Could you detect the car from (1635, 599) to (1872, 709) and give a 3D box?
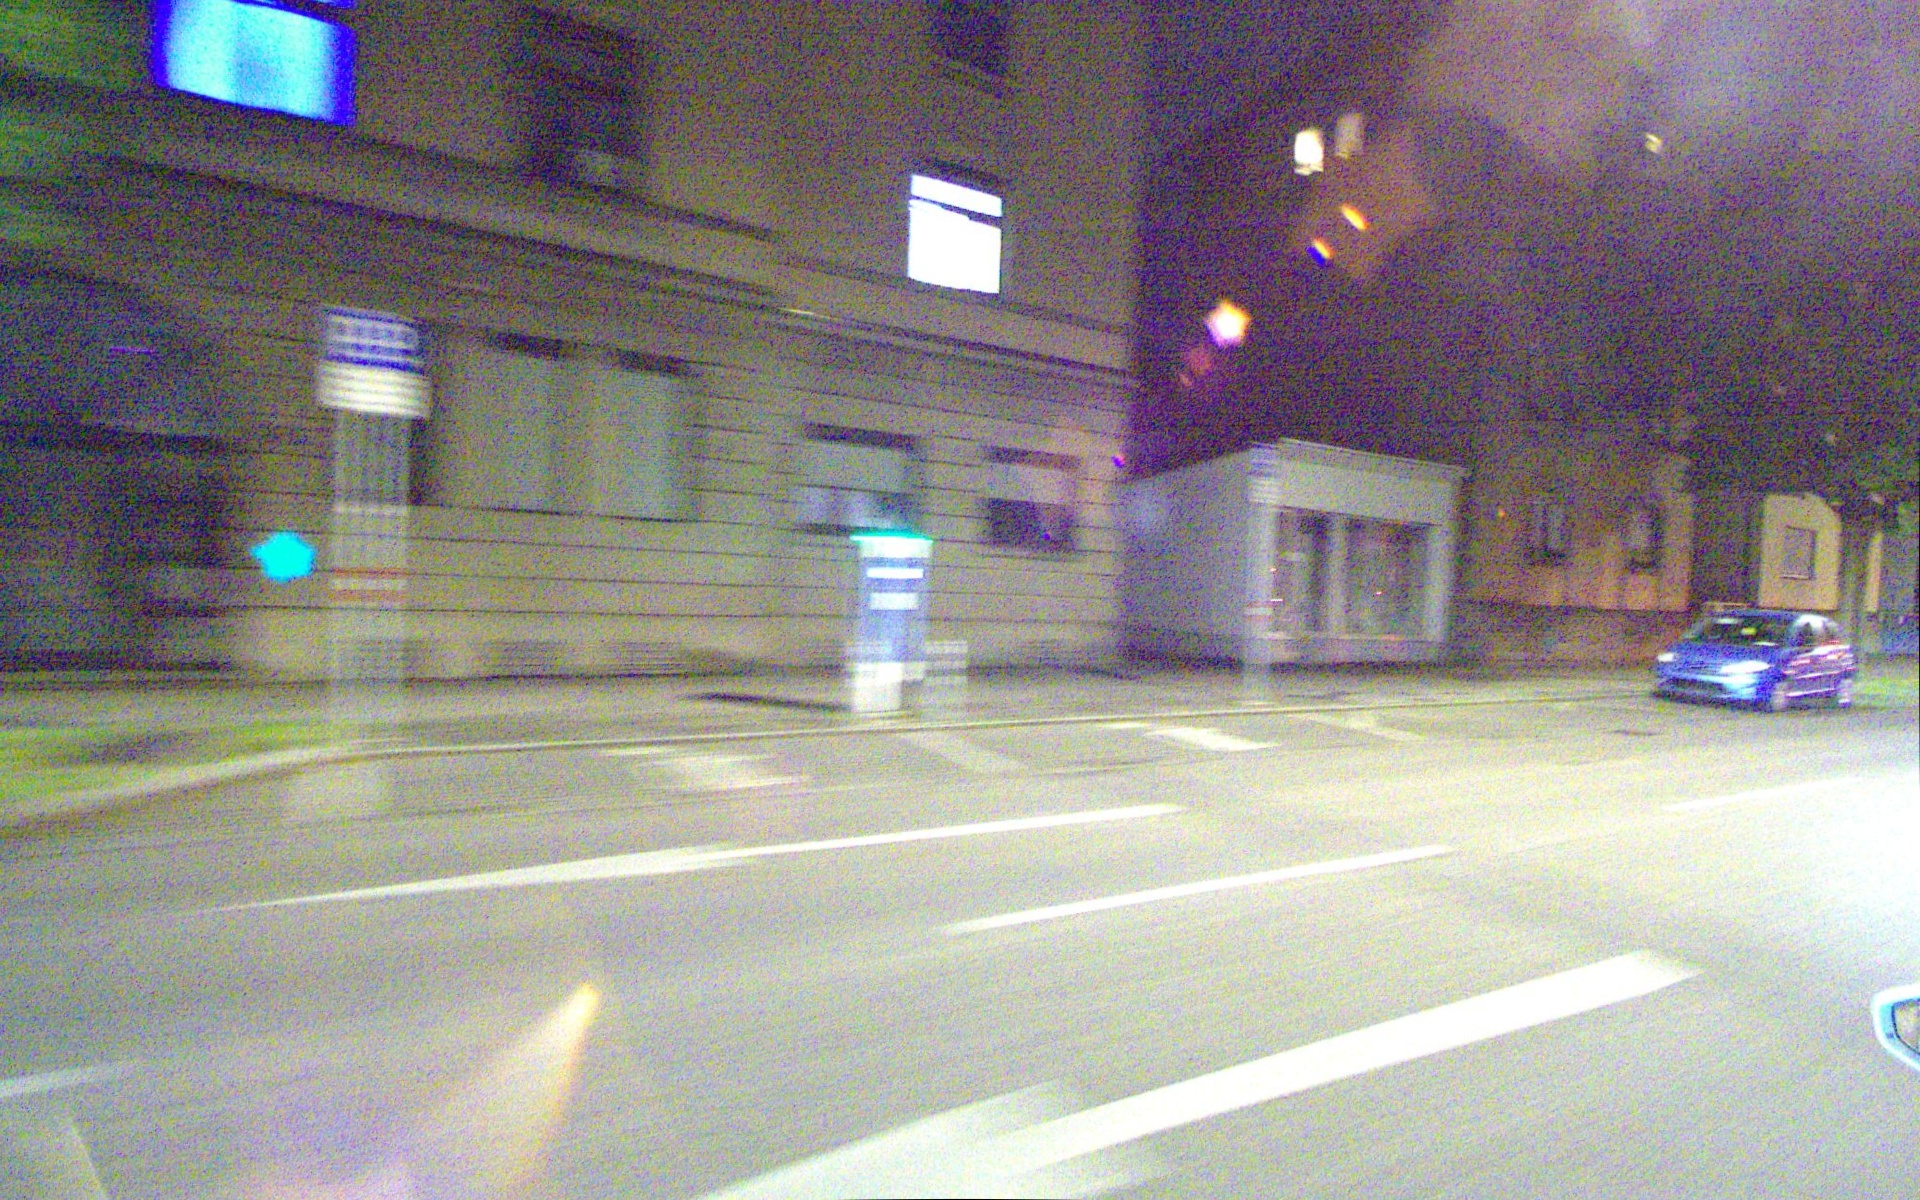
[{"bbox_3d":[12.995,0.834,16.402,3.944,1.514,1.705,2,2,-31],"label":"car"}]
